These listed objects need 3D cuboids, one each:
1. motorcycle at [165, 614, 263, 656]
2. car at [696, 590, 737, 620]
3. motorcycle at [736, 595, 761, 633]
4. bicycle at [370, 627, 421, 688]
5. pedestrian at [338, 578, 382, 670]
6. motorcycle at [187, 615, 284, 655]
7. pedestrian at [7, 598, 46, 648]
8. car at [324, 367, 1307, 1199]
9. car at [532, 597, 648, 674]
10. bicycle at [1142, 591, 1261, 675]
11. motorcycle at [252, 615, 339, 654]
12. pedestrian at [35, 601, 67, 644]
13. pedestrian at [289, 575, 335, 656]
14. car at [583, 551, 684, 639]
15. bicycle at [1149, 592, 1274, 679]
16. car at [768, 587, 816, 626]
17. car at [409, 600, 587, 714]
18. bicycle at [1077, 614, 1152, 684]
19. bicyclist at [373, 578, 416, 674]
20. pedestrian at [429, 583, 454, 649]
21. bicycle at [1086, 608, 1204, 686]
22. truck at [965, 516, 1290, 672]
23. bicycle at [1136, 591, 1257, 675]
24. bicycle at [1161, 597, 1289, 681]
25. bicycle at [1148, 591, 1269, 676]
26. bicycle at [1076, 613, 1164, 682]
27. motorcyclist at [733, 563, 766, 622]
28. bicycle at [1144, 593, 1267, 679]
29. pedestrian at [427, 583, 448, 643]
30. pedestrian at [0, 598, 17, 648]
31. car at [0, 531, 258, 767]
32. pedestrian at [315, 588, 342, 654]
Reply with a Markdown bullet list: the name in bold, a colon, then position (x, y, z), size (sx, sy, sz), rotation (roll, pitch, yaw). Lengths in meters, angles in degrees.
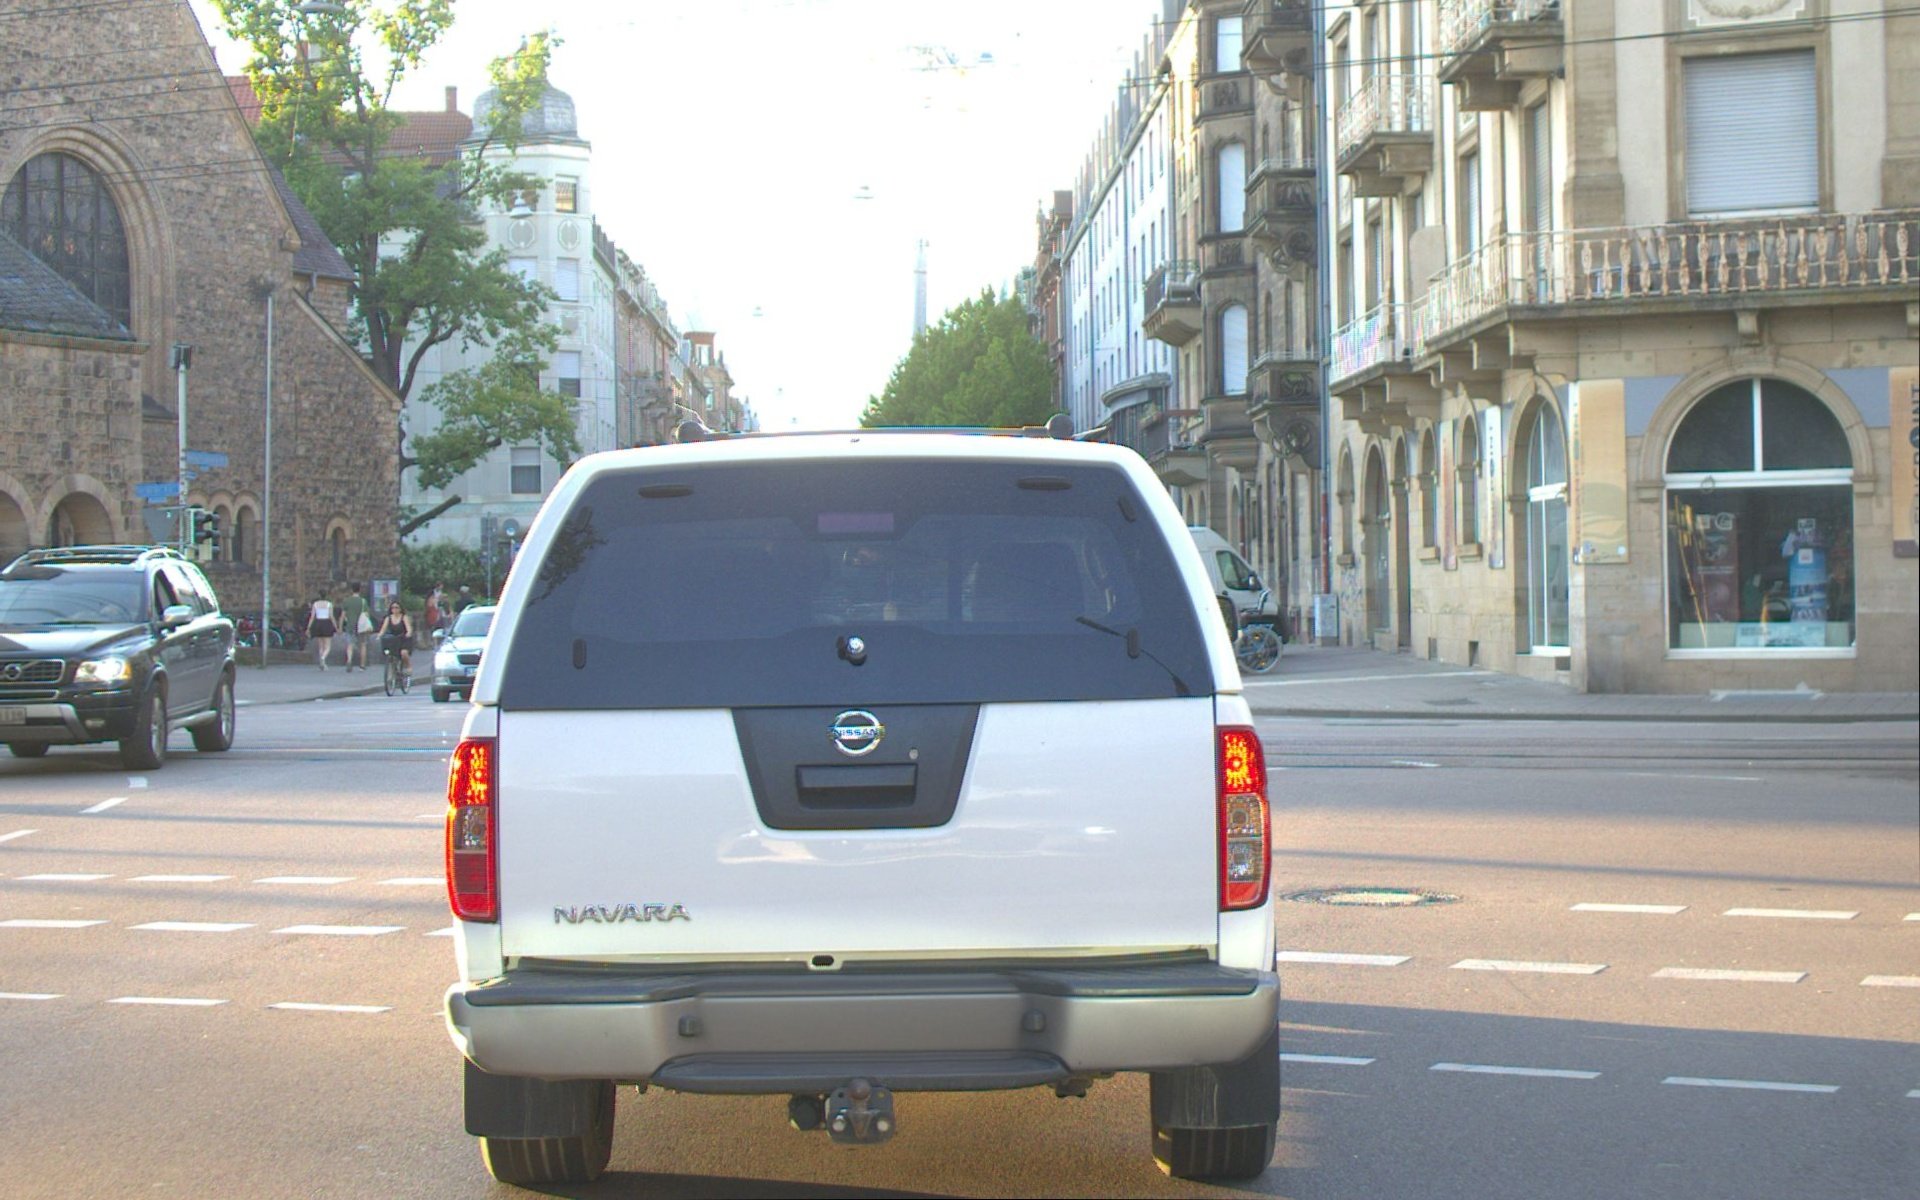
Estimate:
- **motorcycle**: position (-17.852, 0.839, 82.298), size (2.243, 0.984, 0.708), rotation (0, 0, -5)
- **car**: position (-12.377, 0.264, 175.035), size (1.858, 1.524, 4.000), rotation (0, 0, -1)
- **motorcycle**: position (-5.882, 0.398, 95.706), size (0.599, 1.040, 1.946), rotation (0, 0, -1)
- **bicycle**: position (-9.767, 0.981, 59.499), size (0.599, 1.040, 1.946), rotation (0, 0, -1)
- **pedestrian**: position (-12.395, 0.501, 71.073), size (0.812, 1.894, 0.666), rotation (0, -1, -2)
- **motorcycle**: position (-17.760, 0.851, 84.325), size (2.243, 0.984, 0.708), rotation (0, 0, -5)
- **pedestrian**: position (-17.728, 0.439, 65.298), size (0.522, 0.957, 0.479), rotation (0, -1, 19)
- **car**: position (-0.297, 0.443, 9.001), size (1.993, 1.803, 4.000), rotation (0, 0, 0)
- **car**: position (-7.636, 0.711, 71.255), size (1.993, 1.472, 4.140), rotation (-2, 0, -1)
- **bicycle**: position (3.903, 0.537, 55.597), size (1.817, 1.234, 0.410), rotation (-4, 0, -2)
- **motorcycle**: position (-16.740, 0.865, 86.603), size (2.167, 0.984, 0.593), rotation (0, 0, 20)
- **pedestrian**: position (-20.182, 0.496, 76.323), size (0.551, 0.957, 0.709), rotation (0, 0, -3)
- **pedestrian**: position (-13.330, 0.321, 70.765), size (0.812, 1.664, 0.859), rotation (0, 0, -2)
- **car**: position (-7.746, -0.103, 81.881), size (1.993, 2.007, 4.950), rotation (-1, 0, -1)
- **bicycle**: position (3.917, 0.554, 53.554), size (1.817, 1.234, 0.488), rotation (-4, 0, -2)
- **car**: position (-6.624, 0.259, 135.666), size (1.858, 1.524, 4.000), rotation (0, 0, -3)
- **car**: position (-7.151, 0.849, 53.657), size (1.993, 1.552, 4.769), rotation (2, 1, 1)
- **bicycle**: position (2.425, 0.770, 53.975), size (1.077, 1.021, 0.317), rotation (-4, 0, -2)
- **bicyclist**: position (-9.769, 0.448, 59.416), size (0.599, 1.639, 0.963), rotation (0, 0, -1)
- **pedestrian**: position (-14.533, 0.460, 96.401), size (0.642, 1.849, 0.562), rotation (0, -1, -14)
- **bicycle**: position (2.851, 0.721, 53.088), size (1.726, 1.080, 0.317), rotation (-4, 0, -2)
- **truck**: position (2.938, -0.105, 59.185), size (5.658, 2.556, 2.286), rotation (0, 0, -43)
- **bicycle**: position (3.859, 0.542, 56.128), size (1.855, 1.234, 0.531), rotation (-4, 0, -2)
- **bicycle**: position (4.044, 0.593, 52.613), size (1.817, 1.146, 0.636), rotation (-4, 0, -2)
- **bicycle**: position (3.976, 0.534, 54.991), size (1.817, 1.234, 0.412), rotation (-4, 0, -2)
- **bicycle**: position (2.566, 0.763, 55.232), size (1.333, 1.021, 0.317), rotation (-4, 0, -2)
- **motorcyclist**: position (-5.856, -0.213, 95.732), size (0.874, 1.639, 0.963), rotation (0, 0, -1)
- **bicycle**: position (3.877, 0.563, 54.266), size (1.817, 1.234, 0.478), rotation (-4, 0, -2)
- **pedestrian**: position (-14.786, 0.381, 97.243), size (0.560, 1.690, 0.645), rotation (0, -1, -8)
- **pedestrian**: position (-18.352, 0.440, 65.579), size (0.522, 0.957, 0.479), rotation (0, -1, 19)
- **car**: position (-7.289, 0.333, 28.573), size (1.993, 1.778, 4.798), rotation (1, 1, -1)
- **pedestrian**: position (-16.187, 0.531, 88.111), size (0.642, 1.690, 0.562), rotation (0, -1, -8)
